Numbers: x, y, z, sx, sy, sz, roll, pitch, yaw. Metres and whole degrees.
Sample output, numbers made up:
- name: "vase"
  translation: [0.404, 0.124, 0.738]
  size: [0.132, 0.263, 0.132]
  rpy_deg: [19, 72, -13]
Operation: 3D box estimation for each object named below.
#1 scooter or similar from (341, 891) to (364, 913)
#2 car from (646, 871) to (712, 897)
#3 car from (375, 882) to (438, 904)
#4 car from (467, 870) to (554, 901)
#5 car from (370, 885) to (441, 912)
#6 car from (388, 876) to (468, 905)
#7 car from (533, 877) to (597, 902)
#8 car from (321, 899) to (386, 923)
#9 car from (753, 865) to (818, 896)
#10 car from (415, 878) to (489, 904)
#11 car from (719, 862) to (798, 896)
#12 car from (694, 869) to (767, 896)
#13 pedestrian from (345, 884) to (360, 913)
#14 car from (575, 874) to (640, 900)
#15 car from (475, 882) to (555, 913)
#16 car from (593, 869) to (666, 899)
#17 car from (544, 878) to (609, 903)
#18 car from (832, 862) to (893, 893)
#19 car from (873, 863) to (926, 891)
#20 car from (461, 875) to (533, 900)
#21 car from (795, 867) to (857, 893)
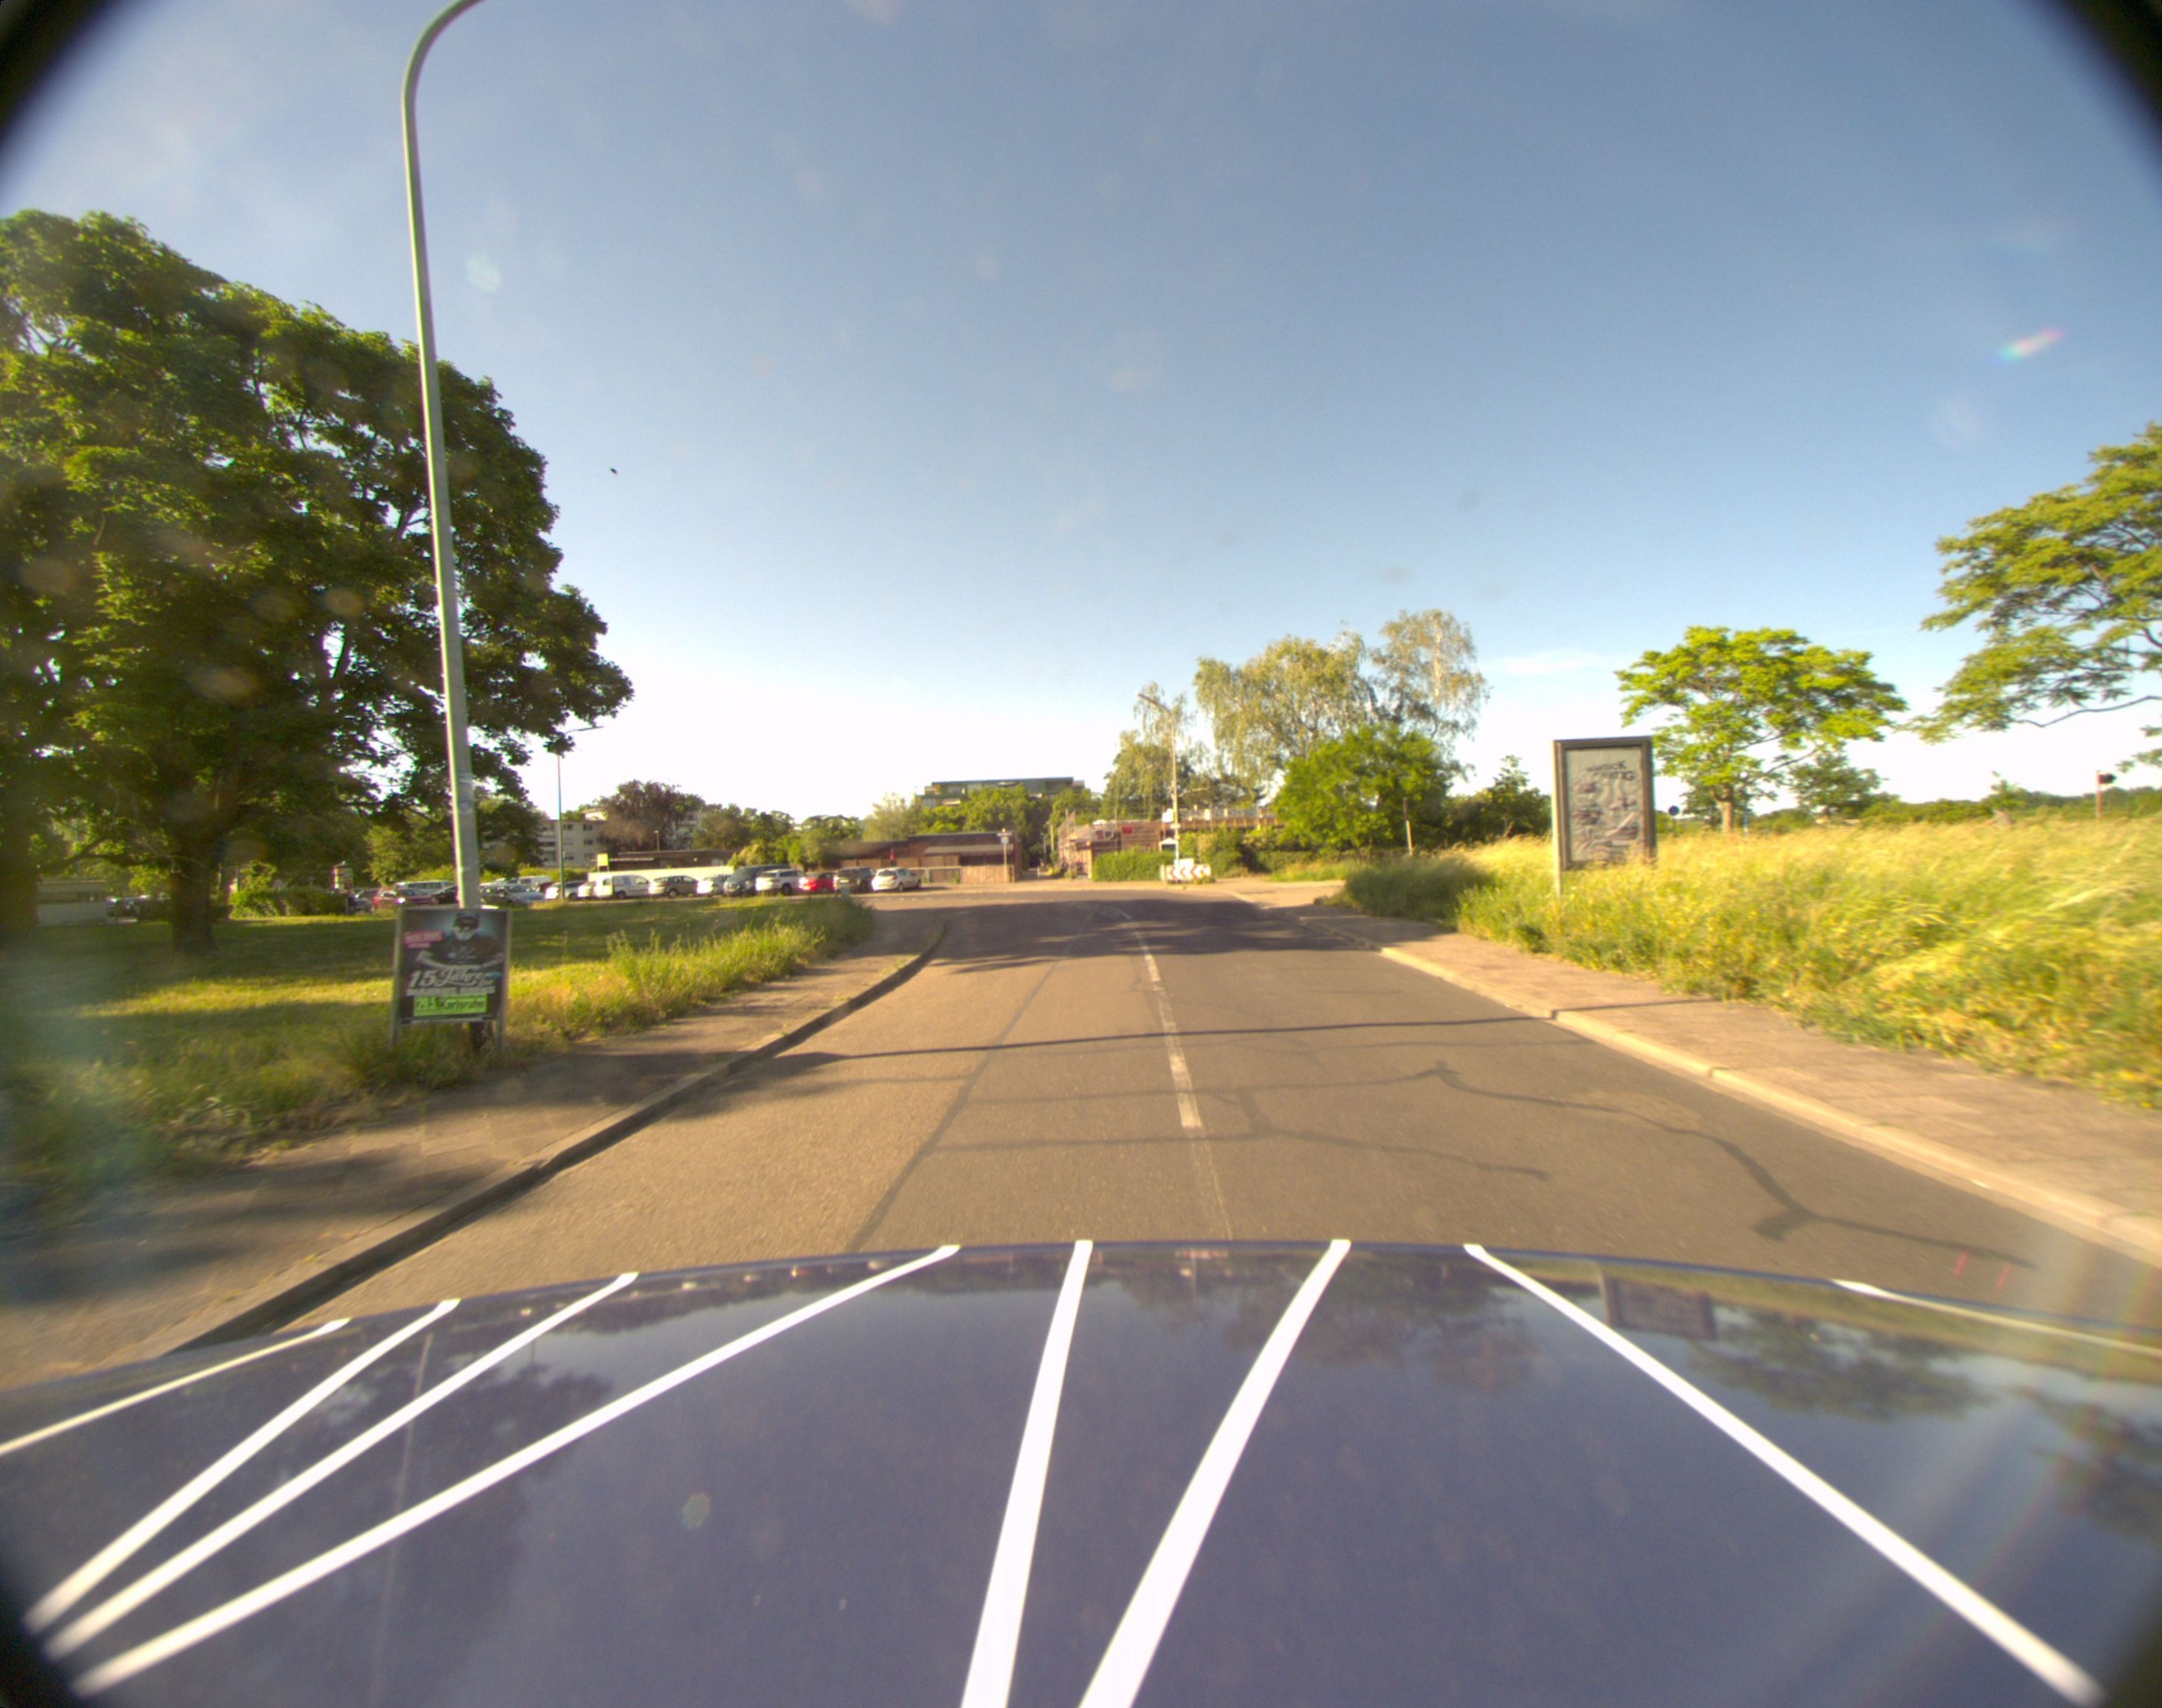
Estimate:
- name: "scooter or similar"
  translation: [-41.373, 2.721, 43.150]
  size: [0.903, 1.220, 0.626]
  rpy_deg: [-2, 0, 23]
- name: "car"
  translation: [-27.677, 2.031, 52.457]
  size: [1.785, 1.523, 3.831]
  rpy_deg: [-2, 1, 18]
- name: "car"
  translation: [-59.033, 3.409, 66.540]
  size: [1.876, 1.558, 3.619]
  rpy_deg: [-3, 2, 28]
- name: "car"
  translation: [-43.893, 2.388, 58.604]
  size: [2.077, 1.910, 4.810]
  rpy_deg: [-2, 2, 22]
- name: "car"
  translation: [-40.672, 2.687, 45.728]
  size: [3.780, 1.438, 1.582]
  rpy_deg: [-2, 1, 22]
- name: "car"
  translation: [-54.297, 3.012, 63.277]
  size: [1.995, 1.966, 4.499]
  rpy_deg: [-1, 3, 27]
- name: "car"
  translation: [-38.917, 2.643, 57.384]
  size: [1.633, 1.480, 3.529]
  rpy_deg: [-4, 1, 22]
- name: "car"
  translation: [-46.871, 3.649, 48.932]
  size: [3.872, 1.394, 1.655]
  rpy_deg: [-2, 0, 25]
- name: "car"
  translation: [-18.734, 1.650, 48.328]
  size: [1.729, 1.598, 3.628]
  rpy_deg: [-2, 2, 21]
- name: "car"
  translation: [-51.543, 3.031, 62.304]
  size: [1.879, 1.696, 4.171]
  rpy_deg: [-1, 3, 30]
- name: "car"
  translation: [-21.026, 1.584, 49.808]
  size: [1.996, 1.904, 4.893]
  rpy_deg: [-2, 1, 17]
- name: "car"
  translation: [-23.373, 1.891, 50.827]
  size: [1.921, 1.484, 4.156]
  rpy_deg: [-2, 2, 22]
- name: "pedestrian"
  translation: [-40.584, 2.482, 42.321]
  size: [0.595, 1.555, 0.484]
  rpy_deg: [-1, 0, 34]
- name: "car"
  translation: [-34.214, 2.359, 54.985]
  size: [1.723, 1.481, 3.528]
  rpy_deg: [1, 5, 22]
- name: "car"
  translation: [-31.157, 2.367, 41.844]
  size: [3.780, 1.534, 1.739]
  rpy_deg: [-2, 1, 22]
- name: "car"
  translation: [-32.089, 2.093, 54.094]
  size: [1.921, 1.770, 3.994]
  rpy_deg: [-3, 2, 21]
- name: "car"
  translation: [-36.911, 2.677, 55.669]
  size: [1.632, 1.481, 3.530]
  rpy_deg: [-2, 2, 26]
- name: "car"
  translation: [-13.542, 1.430, 47.370]
  size: [1.815, 1.603, 4.002]
  rpy_deg: [-2, 2, 14]
- name: "car"
  translation: [-11.130, 1.396, 46.852]
  size: [1.631, 1.450, 3.702]
  rpy_deg: [-2, 1, 14]
- name: "car"
  translation: [-46.293, 2.611, 60.295]
  size: [1.879, 1.574, 4.005]
  rpy_deg: [-1, 3, 28]
- name: "car"
  translation: [-16.171, 1.644, 48.388]
  size: [1.729, 1.337, 3.628]
  rpy_deg: [-2, 2, 21]
